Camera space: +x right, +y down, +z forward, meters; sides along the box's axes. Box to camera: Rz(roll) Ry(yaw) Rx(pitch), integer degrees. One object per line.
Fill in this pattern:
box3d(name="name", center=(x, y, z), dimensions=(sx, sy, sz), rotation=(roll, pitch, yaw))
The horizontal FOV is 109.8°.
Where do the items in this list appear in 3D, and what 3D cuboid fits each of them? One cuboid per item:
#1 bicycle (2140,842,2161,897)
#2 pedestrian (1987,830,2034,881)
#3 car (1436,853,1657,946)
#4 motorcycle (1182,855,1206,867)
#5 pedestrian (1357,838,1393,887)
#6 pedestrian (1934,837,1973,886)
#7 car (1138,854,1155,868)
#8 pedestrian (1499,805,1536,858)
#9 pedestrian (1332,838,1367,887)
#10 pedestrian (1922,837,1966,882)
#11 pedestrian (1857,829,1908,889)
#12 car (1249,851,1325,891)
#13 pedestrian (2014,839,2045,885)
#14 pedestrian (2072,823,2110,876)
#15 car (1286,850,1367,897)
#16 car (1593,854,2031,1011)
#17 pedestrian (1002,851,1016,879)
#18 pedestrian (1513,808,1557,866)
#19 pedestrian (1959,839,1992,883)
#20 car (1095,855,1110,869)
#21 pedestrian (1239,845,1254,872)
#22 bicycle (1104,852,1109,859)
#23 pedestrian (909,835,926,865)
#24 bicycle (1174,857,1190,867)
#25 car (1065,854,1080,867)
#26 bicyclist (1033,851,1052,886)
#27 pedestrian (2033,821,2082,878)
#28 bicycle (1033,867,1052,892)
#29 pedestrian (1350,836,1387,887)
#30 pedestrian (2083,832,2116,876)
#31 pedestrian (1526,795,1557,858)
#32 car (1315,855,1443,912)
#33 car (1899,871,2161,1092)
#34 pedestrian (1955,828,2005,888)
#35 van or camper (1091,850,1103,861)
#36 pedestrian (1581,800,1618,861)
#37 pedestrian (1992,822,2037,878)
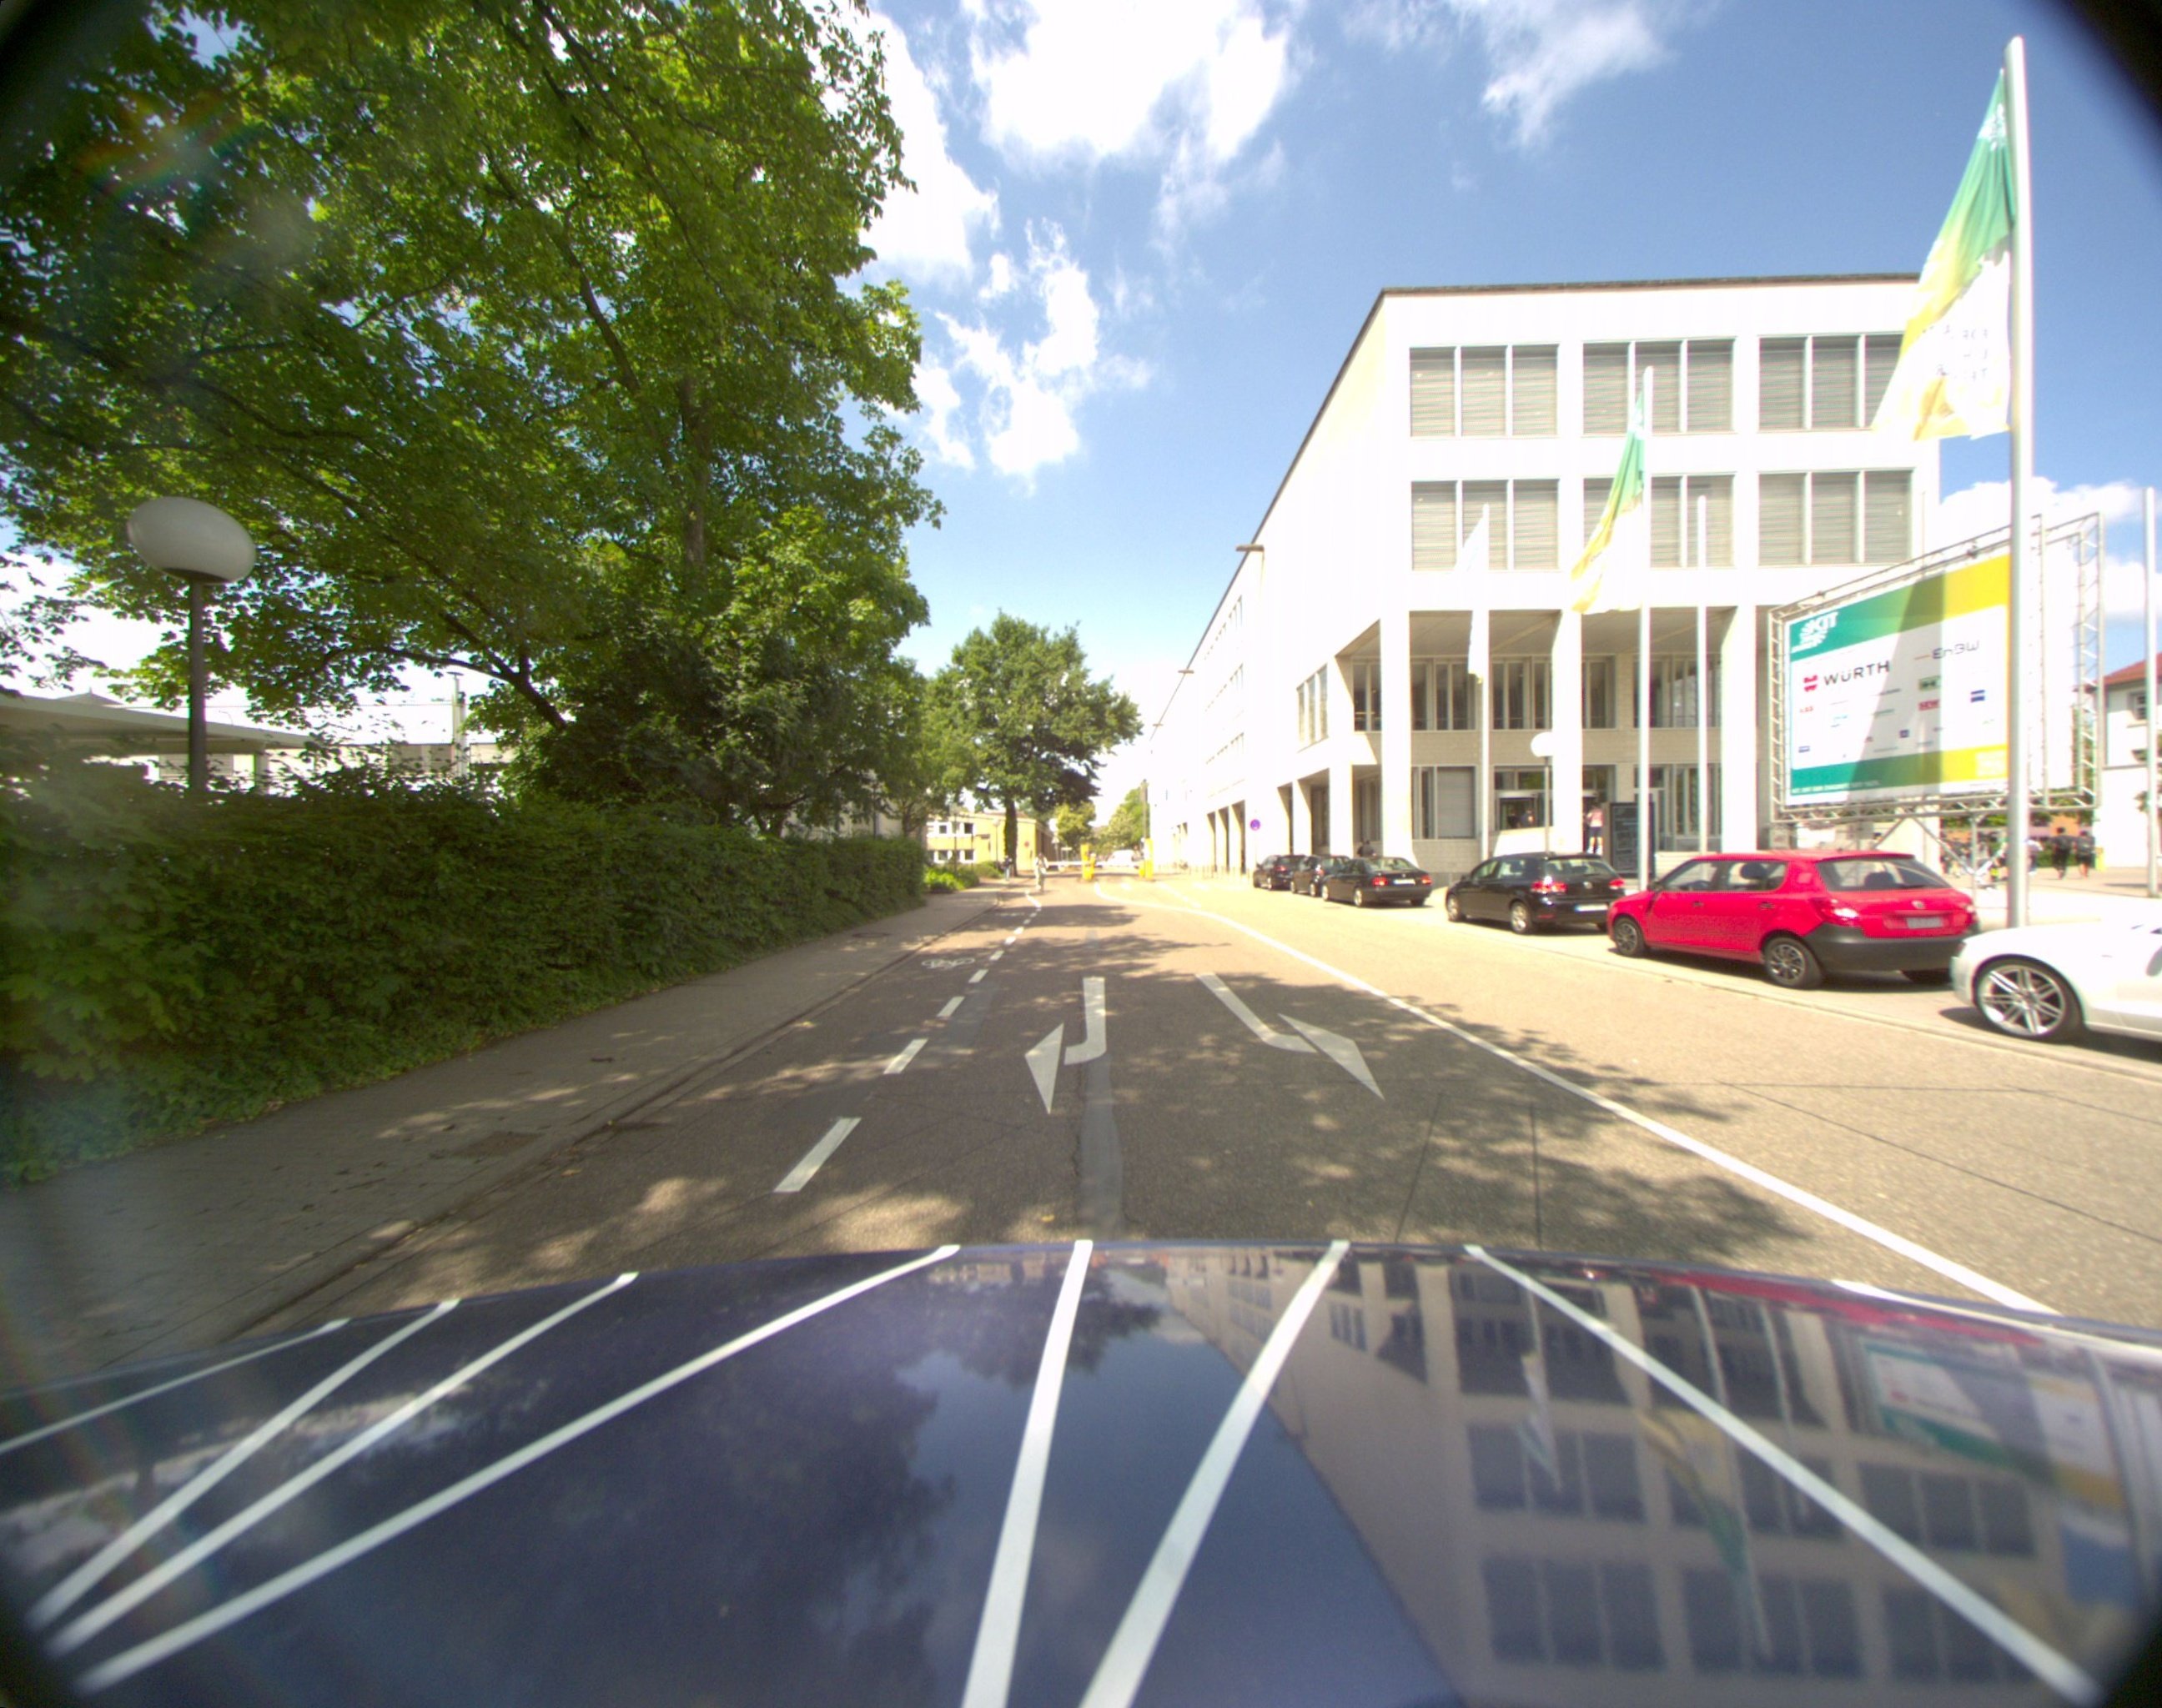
box3d(name="bicycle", center=(29.063, 0.372, 19.731), dimensions=(2.954, 1.403, 1.146), rotation=(-2, 1, -22))
box3d(name="pedestrian", center=(32.433, 0.046, 26.520), dimensions=(0.759, 1.763, 0.738), rotation=(-1, 1, -1))
box3d(name="car", center=(8.641, 0.750, 14.598), dimensions=(1.752, 1.458, 4.197), rotation=(-3, 0, 2))
box3d(name="motorcycle", center=(10.941, 0.702, 73.720), dimensions=(2.173, 1.131, 0.774), rotation=(-1, 0, -9))
box3d(name="pedestrian", center=(12.381, 0.364, 32.039), dimensions=(0.987, 2.002, 1.164), rotation=(-1, 0, -3))
box3d(name="pedestrian", center=(36.232, 0.300, 31.571), dimensions=(0.888, 1.973, 0.841), rotation=(-1, 1, 37))
box3d(name="car", center=(7.975, 0.803, 92.338), dimensions=(1.730, 1.526, 4.405), rotation=(-3, 1, 1))
box3d(name="pedestrian", center=(17.020, -0.859, 29.653), dimensions=(0.746, 2.002, 0.979), rotation=(-2, 1, -20))
box3d(name="pedestrian", center=(11.292, 0.345, 31.984), dimensions=(0.987, 2.002, 1.164), rotation=(-1, 0, -3))
box3d(name="pedestrian", center=(31.170, 0.188, 27.443), dimensions=(0.732, 1.604, 0.737), rotation=(-1, 1, 5))
box3d(name="pedestrian", center=(23.763, 0.143, 22.545), dimensions=(0.738, 1.746, 0.759), rotation=(-1, 1, -9))
box3d(name="car", center=(8.409, 0.651, 31.416), dimensions=(1.864, 1.458, 4.718), rotation=(-3, 0, 1))
box3d(name="pedestrian", center=(41.532, 0.341, 33.265), dimensions=(0.738, 2.002, 0.759), rotation=(-2, 1, -32))
box3d(name="pedestrian", center=(35.578, -0.169, 26.777), dimensions=(0.701, 1.826, 0.759), rotation=(-2, 1, -33))
box3d(name="car", center=(8.610, 0.646, 26.921), dimensions=(1.643, 1.458, 3.707), rotation=(-3, 0, 1))
box3d(name="car", center=(8.508, 0.776, 9.429), dimensions=(1.681, 1.458, 3.911), rotation=(-3, 0, 1))
box3d(name="pedestrian", center=(-4.301, 0.659, 45.424), dimensions=(0.741, 1.665, 1.256), rotation=(-1, 0, -2))
box3d(name="pedestrian", center=(15.999, -0.585, 26.801), dimensions=(0.980, 2.002, 0.910), rotation=(-1, 1, 1))
box3d(name="pedestrian", center=(41.689, 0.328, 35.404), dimensions=(0.738, 2.002, 0.888), rotation=(-2, 1, -32))
box3d(name="car", center=(2.814, 1.060, 99.827), dimensions=(1.998, 1.805, 4.000), rotation=(0, 0, 2))
box3d(name="pedestrian", center=(12.282, 0.315, 56.252), dimensions=(0.850, 2.002, 1.066), rotation=(0, 0, -1))
box3d(name="bicycle", center=(5.194, 0.303, 153.941), dimensions=(0.798, 1.485, 2.062), rotation=(-1, 0, -1))
box3d(name="pedestrian", center=(-11.273, -0.271, 52.379), dimensions=(0.929, 2.002, 0.950), rotation=(0, 0, 4))
box3d(name="bicycle", center=(11.042, 0.868, 82.860), dimensions=(1.643, 1.080, 0.608), rotation=(-2, 0, -5))
box3d(name="car", center=(-0.994, 0.837, 93.422), dimensions=(1.760, 1.559, 3.817), rotation=(0, 0, 0))
box3d(name="bicyclist", center=(-1.661, 0.619, 32.973), dimensions=(0.781, 1.478, 0.695), rotation=(0, 0, -1))
box3d(name="pedestrian", center=(34.610, -0.155, 26.942), dimensions=(0.759, 2.002, 0.737), rotation=(-1, 1, 17))
box3d(name="bicycle", center=(-1.666, 1.087, 32.957), dimensions=(0.781, 1.042, 1.913), rotation=(0, 0, -1))
box3d(name="pedestrian", center=(11.553, 0.307, 30.588), dimensions=(0.987, 2.002, 1.164), rotation=(-1, 0, -3))
box3d(name="pedestrian", center=(49.315, 0.002, 36.781), dimensions=(0.738, 2.131, 0.888), rotation=(-2, 1, -32))
box3d(name="pedestrian", center=(17.993, -1.061, 29.709), dimensions=(0.761, 2.408, 0.736), rotation=(-1, 1, -26))
box3d(name="car", center=(8.343, 0.752, 21.830), dimensions=(1.864, 1.370, 5.017), rotation=(-3, 0, 2))
box3d(name="car", center=(8.151, 0.886, 4.479), dimensions=(1.681, 1.387, 4.662), rotation=(-3, 0, 1))
box3d(name="pedestrian", center=(26.760, 0.101, 22.623), dimensions=(0.739, 1.746, 0.758), rotation=(-1, 1, -22))
box3d(name="van or camper", center=(3.488, 0.393, 164.490), dimensions=(1.997, 2.347, 4.385), rotation=(0, 0, 7))
box3d(name="pedestrian", center=(18.593, -0.831, 27.260), dimensions=(0.706, 2.133, 0.803), rotation=(-2, 1, -21))
box3d(name="pedestrian", center=(34.057, -0.144, 27.724), dimensions=(0.759, 2.002, 0.737), rotation=(-1, 1, 17))
